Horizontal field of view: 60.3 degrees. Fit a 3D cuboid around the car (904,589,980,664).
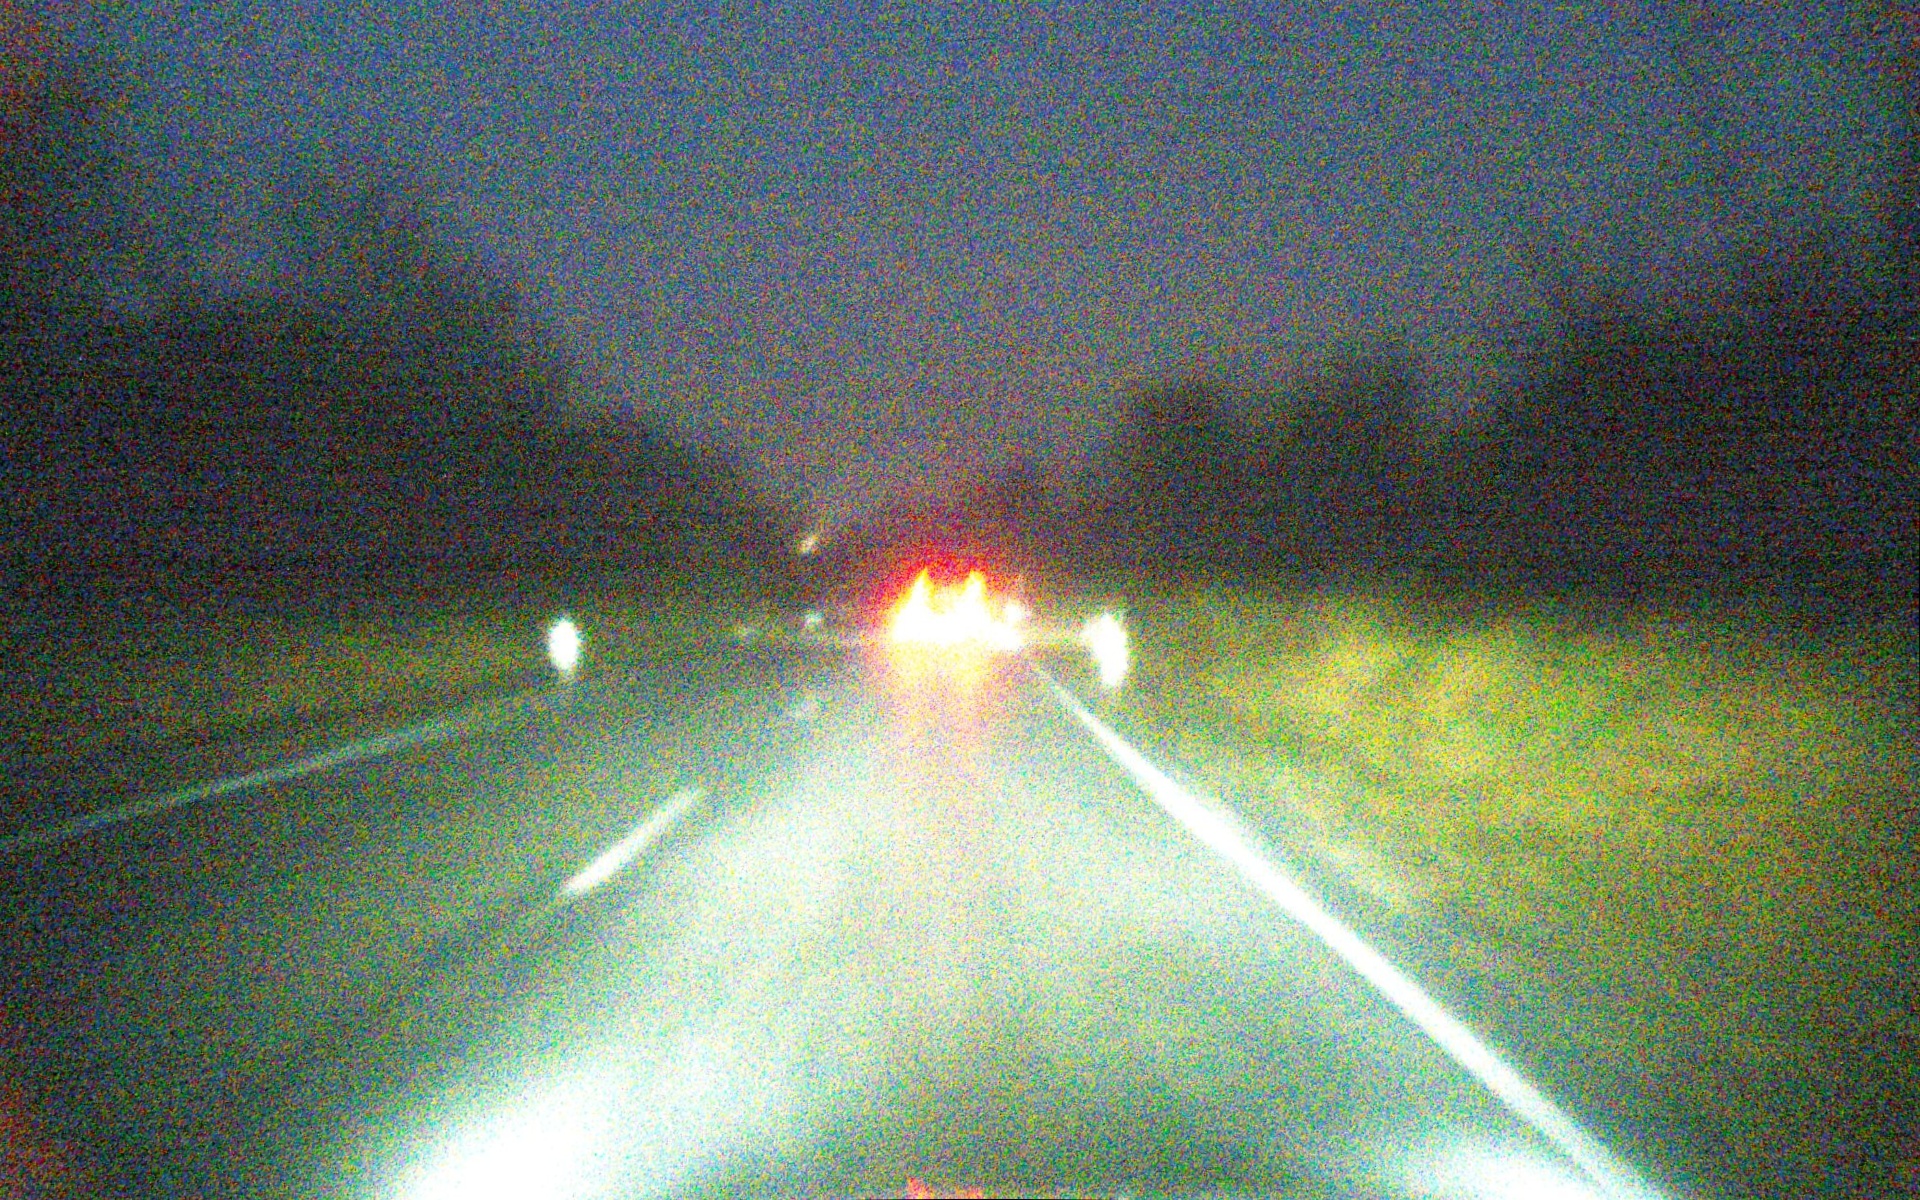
[{"bbox_3d":[-0.439,0.614,41.356,1.805,1.771,4.000,0,0,-1],"label":"car"}]
